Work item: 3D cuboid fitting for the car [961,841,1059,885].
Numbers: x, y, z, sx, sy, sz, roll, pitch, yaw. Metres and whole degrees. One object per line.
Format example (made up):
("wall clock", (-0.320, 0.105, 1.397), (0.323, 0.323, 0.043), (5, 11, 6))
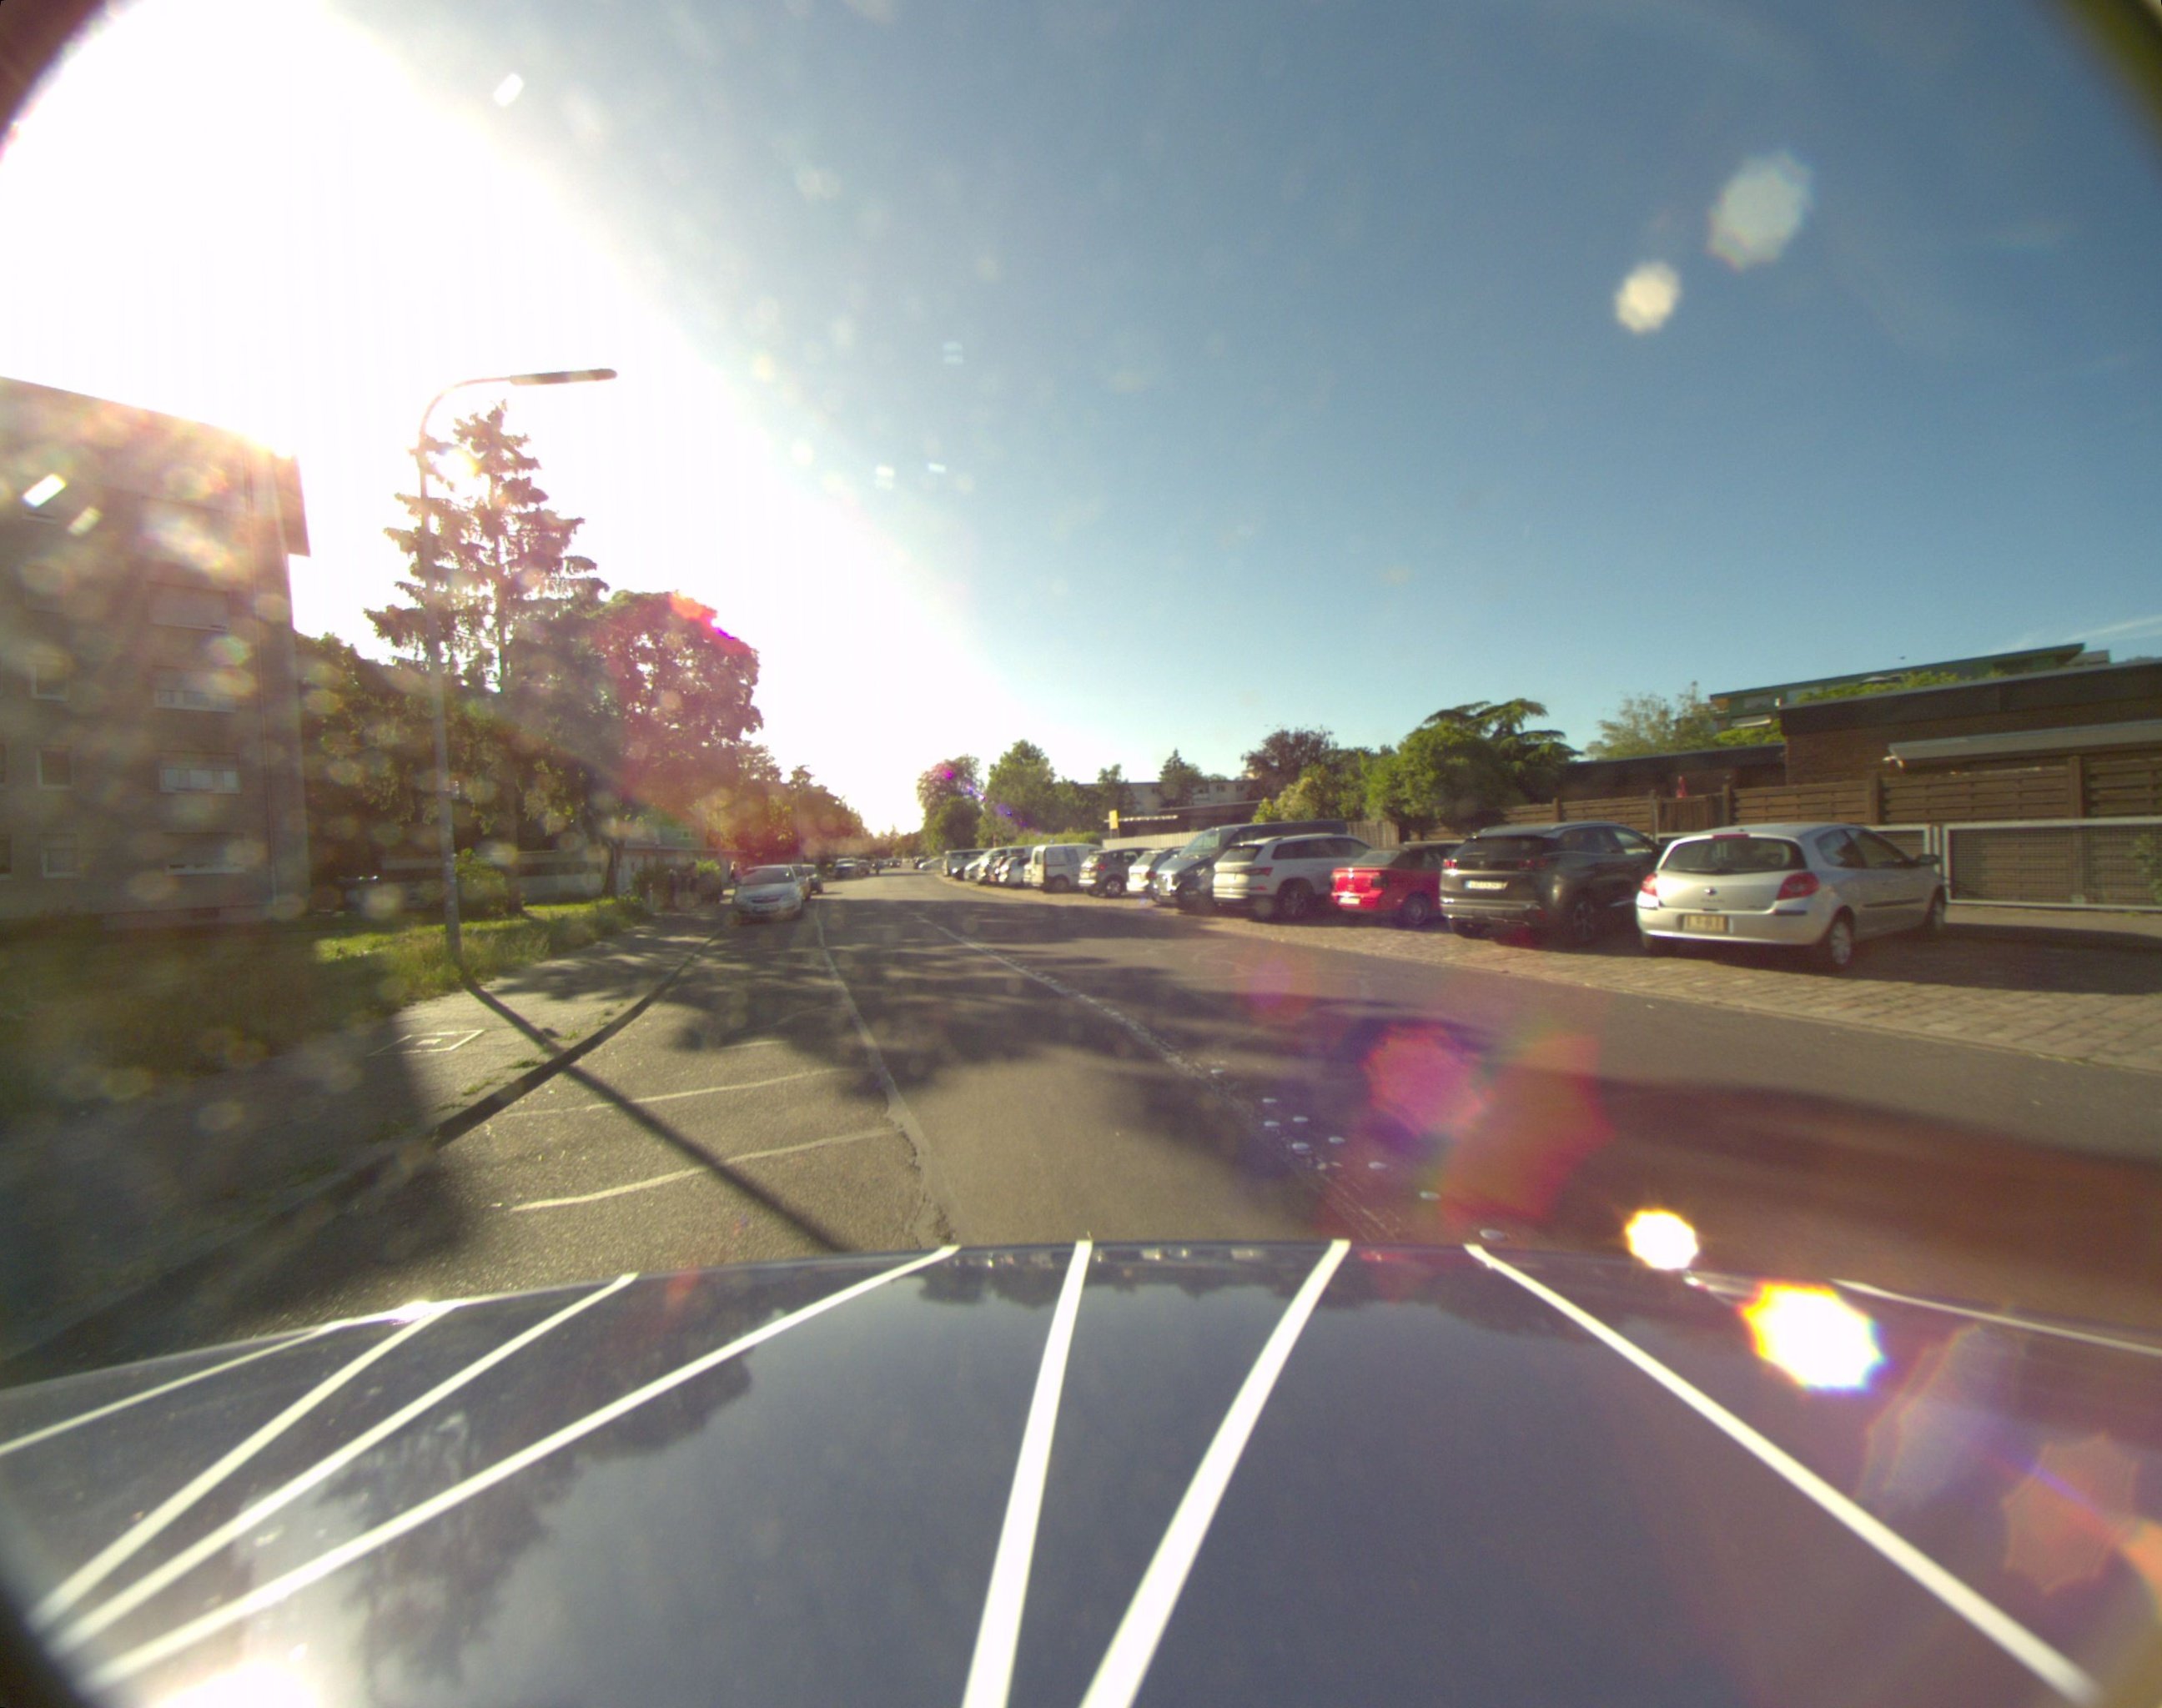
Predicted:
("car", (-3.889, 0.453, 41.349), (4.807, 1.910, 2.078), (-5, 1, -19))

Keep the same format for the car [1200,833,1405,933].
("car", (4.504, 0.528, 15.521), (3.626, 1.598, 1.730), (-5, 2, -20))

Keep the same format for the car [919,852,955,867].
("car", (-17.677, 0.683, 93.454), (4.003, 1.449, 1.560), (-5, 2, -20))

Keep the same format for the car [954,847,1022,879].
("car", (-6.039, 0.561, 49.528), (4.164, 1.696, 1.882), (-5, 2, -7))

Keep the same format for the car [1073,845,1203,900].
("car", (1.873, 0.573, 25.105), (3.830, 1.524, 1.786), (-4, 1, -22))

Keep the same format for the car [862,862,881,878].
("car", (-23.703, 1.789, 86.114), (1.810, 1.585, 4.018), (-5, 1, -13))

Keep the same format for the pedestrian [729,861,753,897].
("pedestrian", (-15.373, 1.133, 34.369), (0.790, 1.556, 0.569), (-5, 2, -17))

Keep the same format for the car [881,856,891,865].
("car", (-38.952, 1.331, 151.639), (1.734, 1.586, 3.808), (-3, 0, -13))

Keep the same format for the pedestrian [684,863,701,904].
("pedestrian", (-14.874, 1.128, 29.100), (0.487, 1.556, 0.468), (-1, 2, -21))

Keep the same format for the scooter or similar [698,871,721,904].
("scooter or similar", (-14.310, 1.283, 29.301), (0.625, 1.220, 0.904), (-2, 1, -17))

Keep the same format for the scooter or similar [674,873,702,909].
("scooter or similar", (-13.836, 1.299, 26.741), (1.250, 1.220, 0.401), (-1, 2, 42))

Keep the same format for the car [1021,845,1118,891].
("car", (-0.476, 0.537, 31.378), (3.527, 1.481, 1.724), (-7, 3, -19))

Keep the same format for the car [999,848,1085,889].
("car", (-1.764, 0.638, 33.989), (3.526, 1.480, 1.634), (-5, 1, -15))

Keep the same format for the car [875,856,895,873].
("car", (-19.675, 1.063, 76.219), (1.734, 1.586, 3.808), (-3, 0, -13))

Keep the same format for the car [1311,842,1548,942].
("car", (6.210, 0.594, 13.608), (3.626, 1.336, 1.730), (-5, 2, -20))

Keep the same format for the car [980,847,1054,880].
("car", (-3.762, 0.519, 44.626), (4.001, 1.574, 1.881), (-5, 2, -13))

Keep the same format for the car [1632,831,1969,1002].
("car", (8.266, 0.571, 8.701), (3.703, 1.450, 1.631), (-4, 1, -27))

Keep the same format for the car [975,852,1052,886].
("car", (-3.442, 0.734, 38.711), (3.528, 1.438, 1.634), (-5, 2, -21))

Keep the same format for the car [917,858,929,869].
("car", (-24.016, 1.382, 115.570), (1.819, 1.672, 3.644), (0, 0, -12))

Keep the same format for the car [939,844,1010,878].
("car", (-7.329, 0.466, 52.288), (4.495, 1.966, 1.997), (-5, 2, -14))

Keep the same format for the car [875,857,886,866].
("car", (-34.452, 1.279, 130.625), (1.734, 1.462, 3.808), (-3, 0, -13))

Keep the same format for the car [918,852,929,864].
("car", (-26.763, 0.710, 129.089), (1.912, 1.930, 4.506), (0, 0, -12))

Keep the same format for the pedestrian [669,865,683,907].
("pedestrian", (-14.730, 1.154, 27.637), (0.363, 1.495, 0.500), (-1, 2, -20))

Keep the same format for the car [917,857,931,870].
("car", (-21.870, 1.301, 105.705), (1.786, 1.564, 4.419), (-4, 0, -13))

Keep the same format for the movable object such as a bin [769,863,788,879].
("movable object such as a bin", (-27.099, 1.540, 68.119), (1.253, 1.339, 1.052), (-3, 2, -1))

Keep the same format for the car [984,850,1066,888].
("car", (-2.671, 0.706, 36.119), (3.527, 1.480, 1.634), (-4, 0, -19))

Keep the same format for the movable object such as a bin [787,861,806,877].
("movable object such as a bin", (-25.442, 1.376, 67.980), (1.253, 1.339, 1.052), (-3, 2, -1))

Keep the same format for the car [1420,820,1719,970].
("car", (7.124, 0.475, 11.037), (4.004, 1.603, 1.815), (-5, 2, -27))

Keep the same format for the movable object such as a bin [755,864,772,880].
("movable object such as a bin", (-28.518, 1.573, 68.186), (1.079, 1.339, 0.864), (-3, 2, -1))

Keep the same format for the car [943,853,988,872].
("car", (-11.019, 0.796, 72.382), (4.001, 1.524, 1.829), (-5, 2, -14))

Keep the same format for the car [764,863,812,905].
("car", (-11.723, 1.152, 30.539), (1.581, 1.438, 3.782), (-4, 1, -19))

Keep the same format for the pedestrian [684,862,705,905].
("pedestrian", (-14.342, 1.082, 28.187), (0.483, 1.556, 0.596), (-1, 2, -7))

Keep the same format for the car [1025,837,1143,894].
("car", (0.101, 0.426, 29.264), (3.993, 1.770, 1.922), (-5, 1, -20))

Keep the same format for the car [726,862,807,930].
("car", (-8.469, 1.046, 20.733), (1.738, 1.534, 3.782), (-4, 1, -19))

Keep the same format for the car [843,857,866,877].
("car", (-22.705, 1.319, 76.194), (1.840, 1.780, 4.550), (-5, 0, -14))

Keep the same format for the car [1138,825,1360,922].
("car", (4.039, 0.392, 18.190), (4.892, 1.905, 1.996), (-3, 1, -24))

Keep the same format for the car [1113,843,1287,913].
("car", (3.204, 0.586, 20.579), (4.153, 1.484, 1.922), (-5, 2, -19))

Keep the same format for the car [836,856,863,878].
("car", (-21.384, 1.202, 70.426), (1.913, 1.829, 5.268), (-5, 0, -13))

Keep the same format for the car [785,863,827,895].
("car", (-13.591, 1.188, 37.768), (1.653, 1.395, 3.876), (-2, 1, -16))
